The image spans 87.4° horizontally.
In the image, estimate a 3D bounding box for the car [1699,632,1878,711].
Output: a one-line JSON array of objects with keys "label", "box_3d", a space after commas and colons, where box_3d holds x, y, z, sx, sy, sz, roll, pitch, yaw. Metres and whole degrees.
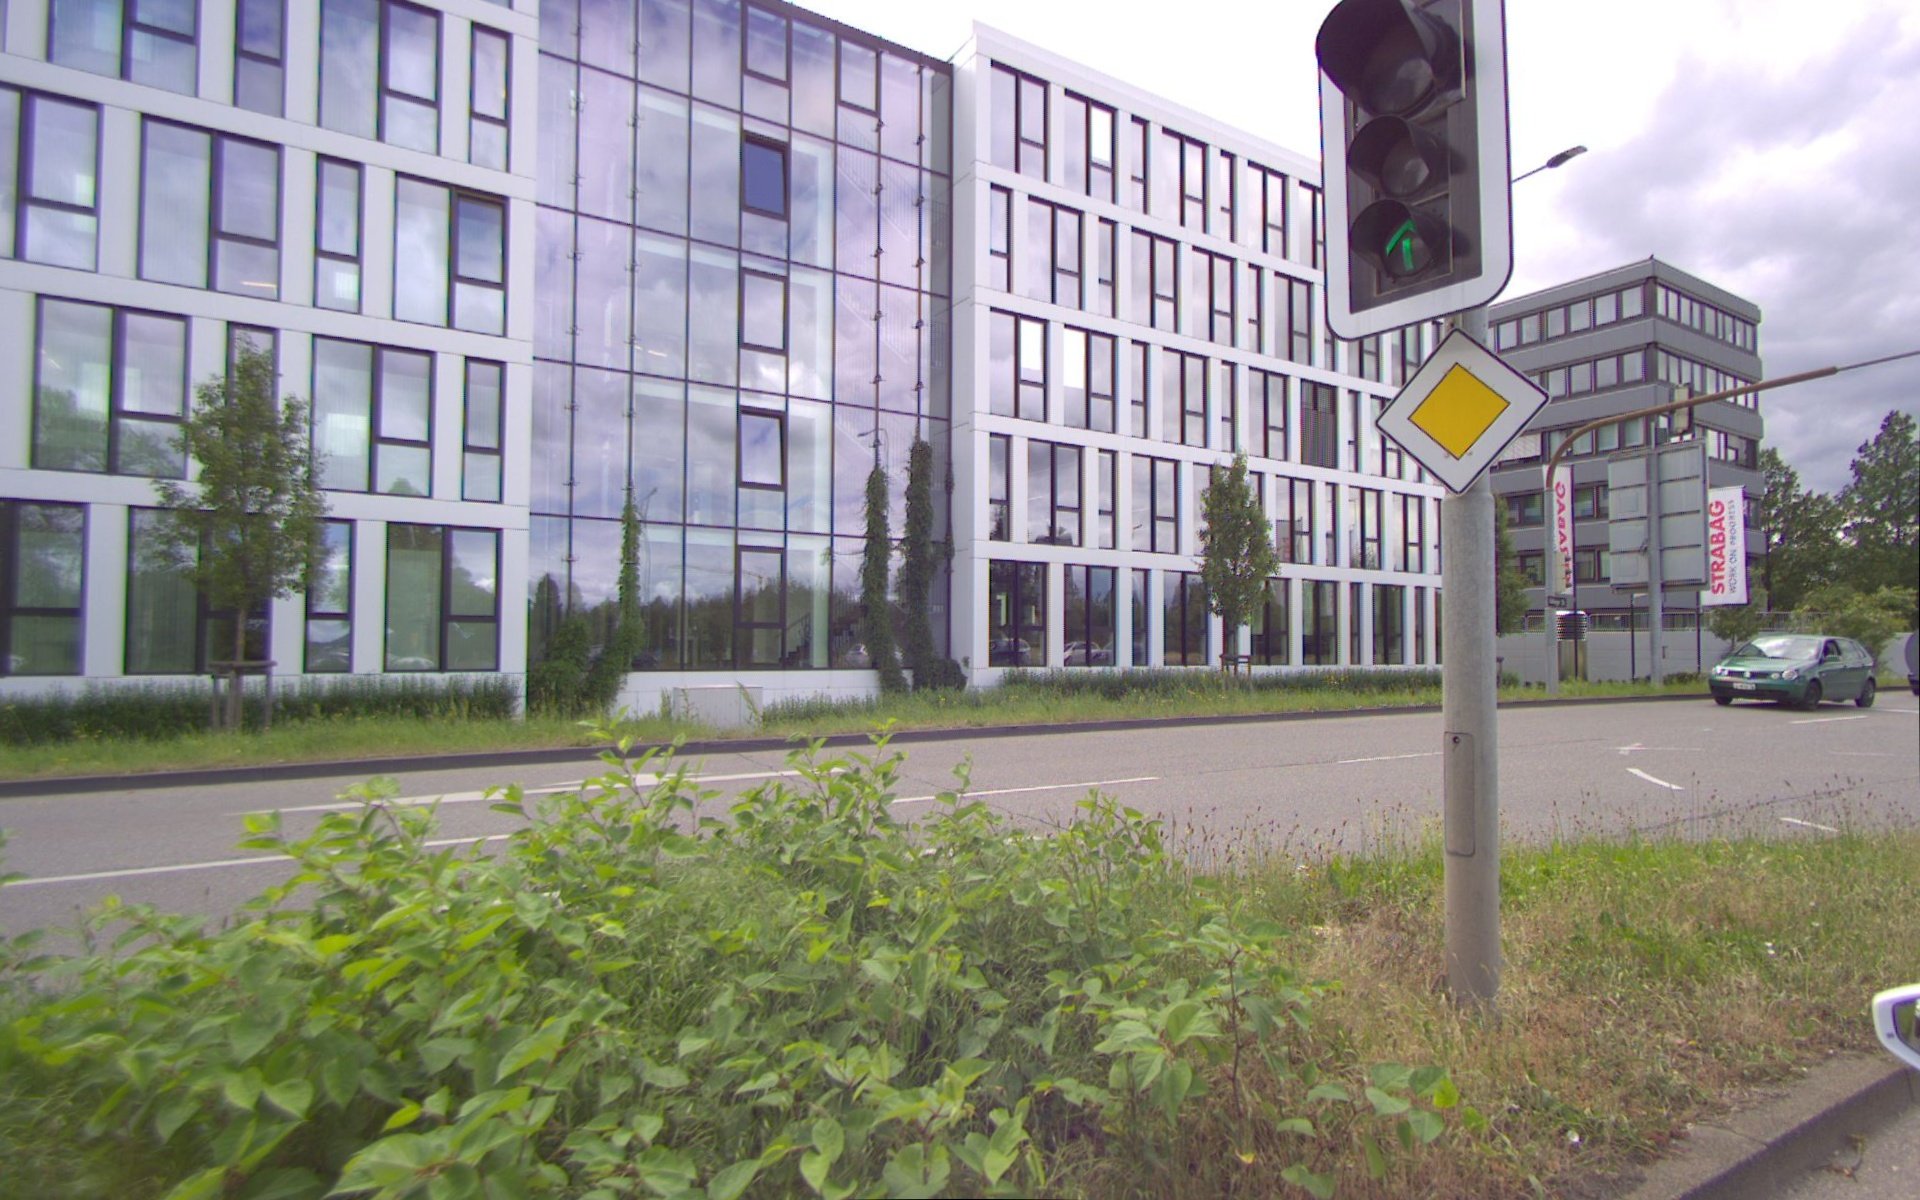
[{"label": "car", "box_3d": [16.928, 1.401, 20.495, 3.707, 1.451, 1.598, 1, -1, -29]}]

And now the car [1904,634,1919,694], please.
[{"label": "car", "box_3d": [25.201, 1.587, 24.843, 3.846, 1.438, 1.548, 1, -1, -28]}]
